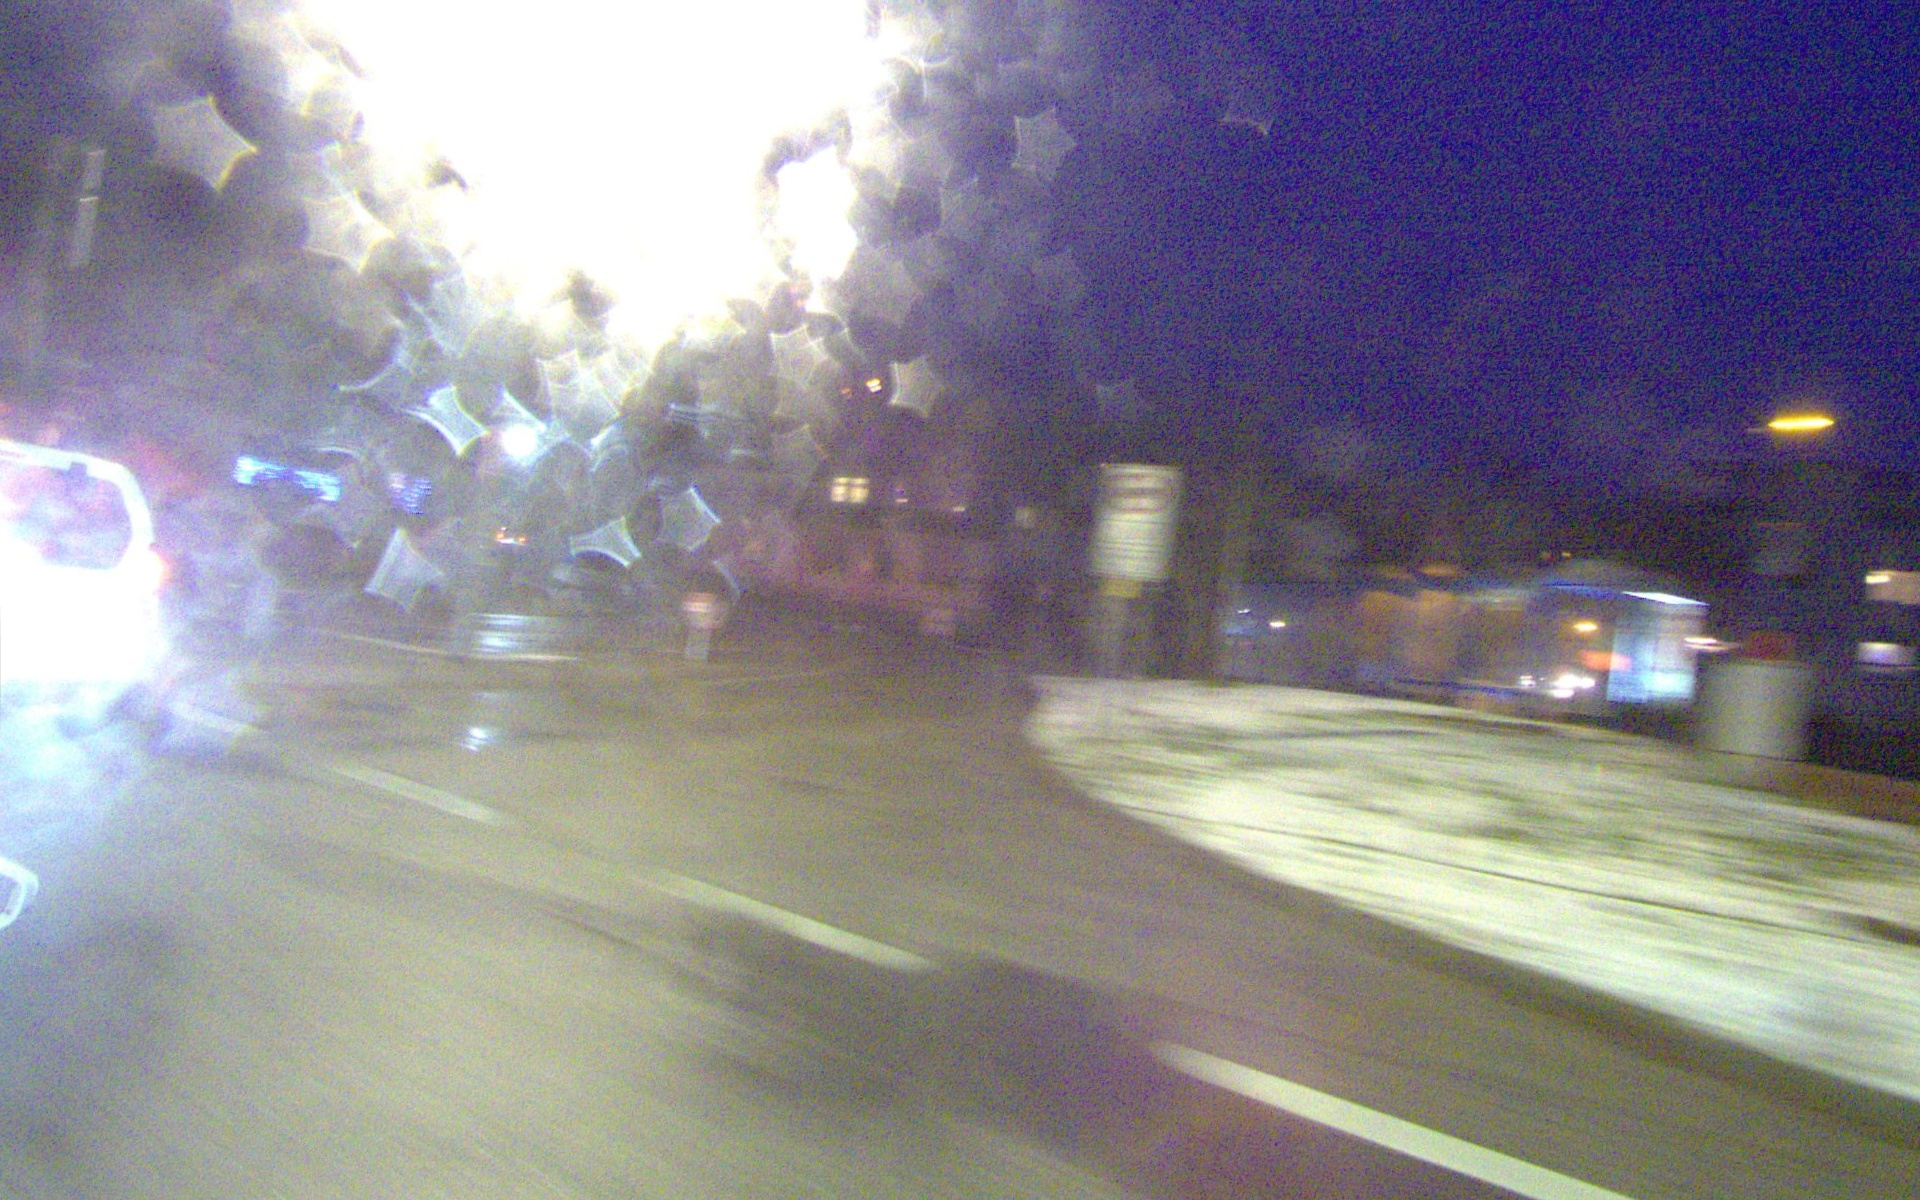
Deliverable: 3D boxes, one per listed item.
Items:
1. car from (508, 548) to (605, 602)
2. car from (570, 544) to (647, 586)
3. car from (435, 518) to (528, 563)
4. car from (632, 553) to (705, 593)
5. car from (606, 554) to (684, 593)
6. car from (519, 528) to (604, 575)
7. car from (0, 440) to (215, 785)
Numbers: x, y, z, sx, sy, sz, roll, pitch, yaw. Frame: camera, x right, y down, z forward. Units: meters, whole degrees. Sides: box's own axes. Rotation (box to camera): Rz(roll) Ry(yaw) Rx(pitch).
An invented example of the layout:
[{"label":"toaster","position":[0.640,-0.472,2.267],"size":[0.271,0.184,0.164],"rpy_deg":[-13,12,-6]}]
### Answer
[{"label":"car","position":[-15.595,-0.972,38.786],"size":[3.909,1.667,1.861],"rpy_deg":[6,1,42]},{"label":"car","position":[-22.024,-2.185,63.107],"size":[3.977,2.037,1.976],"rpy_deg":[9,-2,-43]},{"label":"car","position":[-25.767,-3.188,54.265],"size":[3.997,1.688,1.778],"rpy_deg":[8,-1,-4]},{"label":"car","position":[-19.179,-1.761,66.320],"size":[1.974,2.037,3.980],"rpy_deg":[6,-2,44]},{"label":"car","position":[-19.261,-1.625,61.521],"size":[3.974,1.725,1.977],"rpy_deg":[9,-2,-41]},{"label":"car","position":[-22.973,-2.788,58.064],"size":[3.974,2.037,1.977],"rpy_deg":[9,-2,-41]},{"label":"car","position":[-7.100,-0.131,6.573],"size":[4.266,1.886,1.856],"rpy_deg":[7,-2,30]}]
